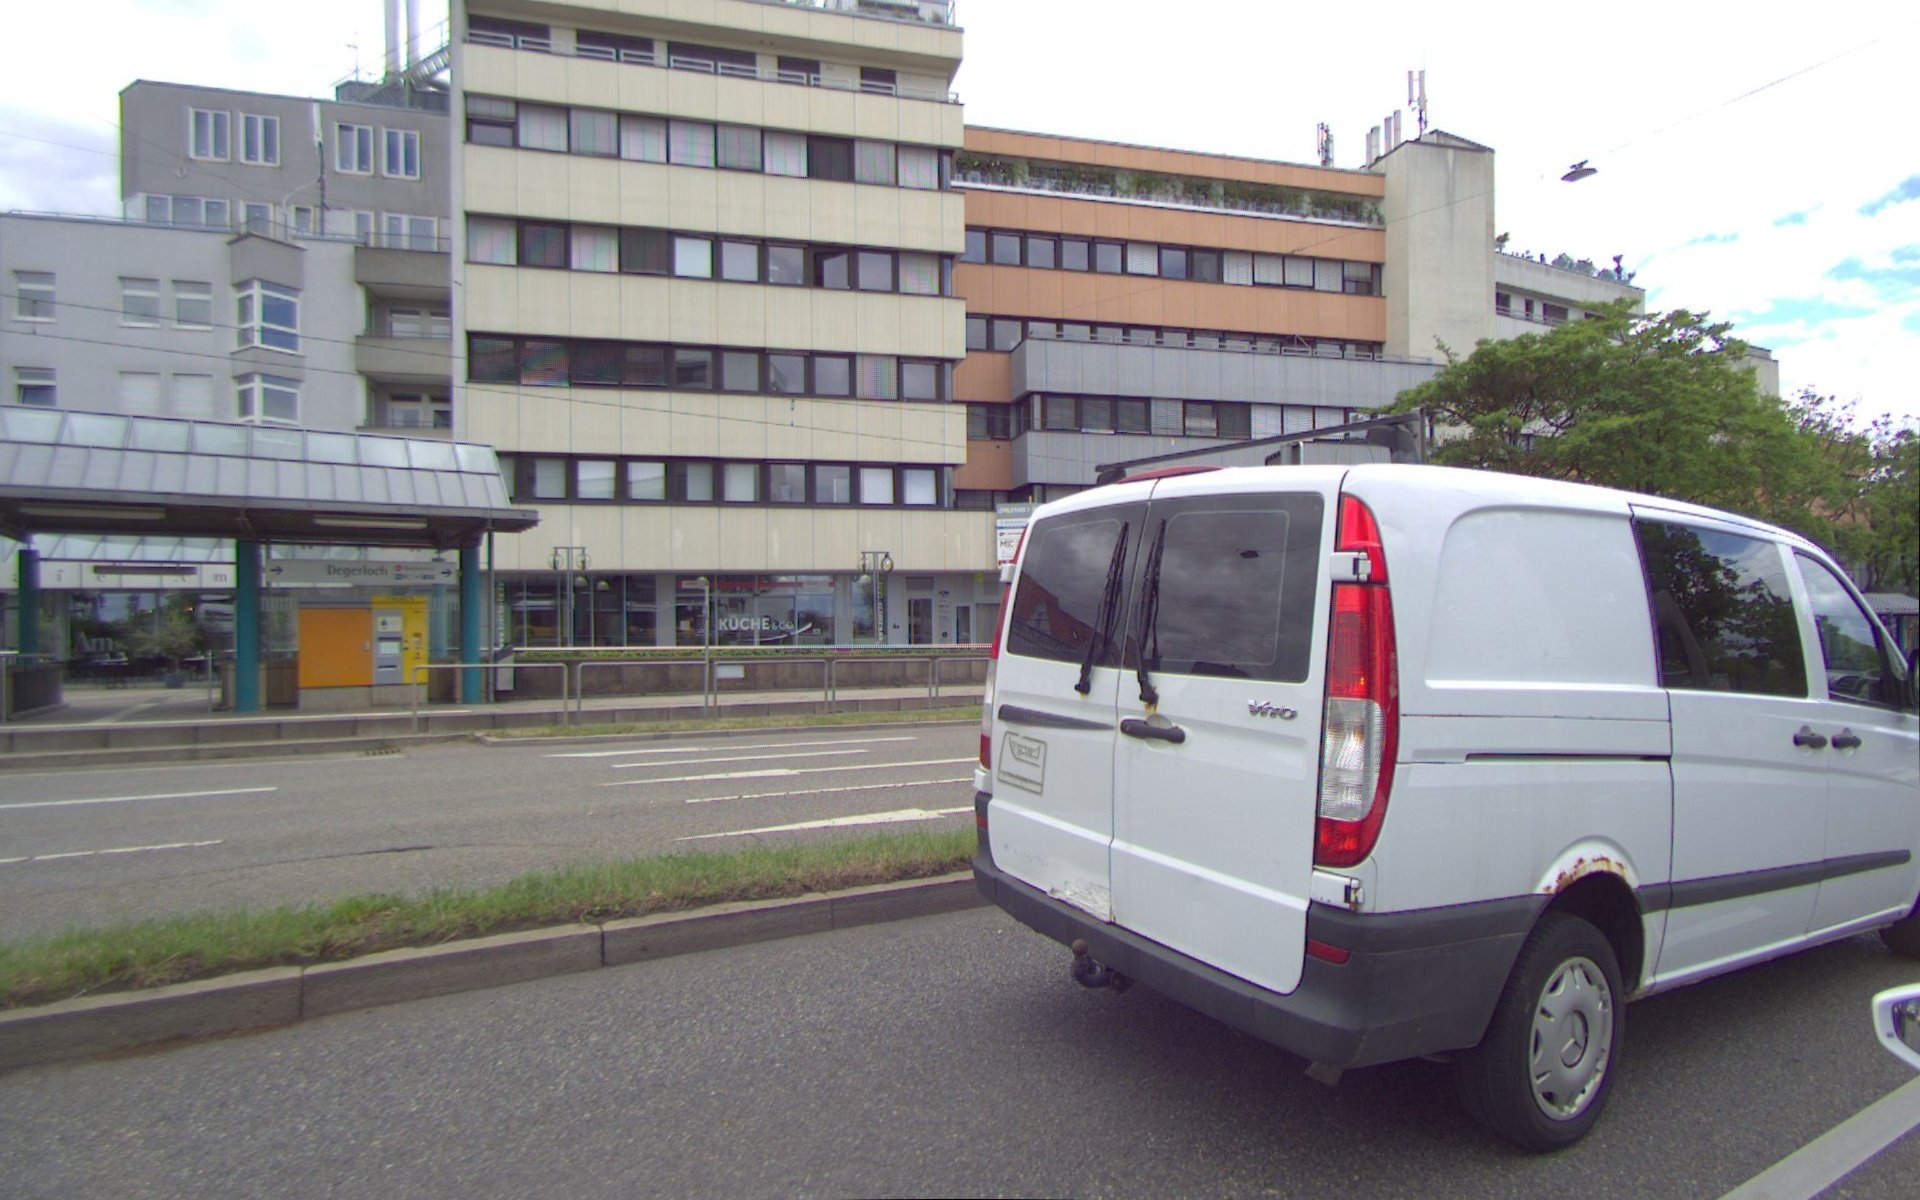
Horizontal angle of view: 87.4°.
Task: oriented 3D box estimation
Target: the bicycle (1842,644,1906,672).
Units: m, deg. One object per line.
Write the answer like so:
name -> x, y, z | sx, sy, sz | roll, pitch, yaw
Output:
bicycle -> 41.609, 2.641, 45.730 | 0.705, 1.169, 2.050 | 2, -1, -37

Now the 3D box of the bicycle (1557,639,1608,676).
bicycle -> 21.901, 2.004, 35.363 | 1.441, 1.270, 0.432 | 0, -1, 14

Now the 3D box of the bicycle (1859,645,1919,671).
bicycle -> 44.300, 2.742, 47.875 | 0.705, 1.168, 2.050 | 2, -1, -37

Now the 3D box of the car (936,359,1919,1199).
car -> 2.548, 0.486, 4.279 | 5.017, 2.041, 1.864 | 1, 2, -31

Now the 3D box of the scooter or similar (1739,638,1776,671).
scooter or similar -> 32.912, 2.247, 41.473 | 0.256, 1.337, 1.196 | 1, -2, -28

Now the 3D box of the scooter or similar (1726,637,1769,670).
scooter or similar -> 31.950, 2.163, 40.756 | 0.335, 1.286, 1.315 | 1, 0, -28

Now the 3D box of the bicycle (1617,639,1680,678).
bicycle -> 23.468, 1.977, 34.254 | 1.649, 1.270, 0.627 | 0, -1, 11

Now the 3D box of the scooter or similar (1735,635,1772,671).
scooter or similar -> 32.655, 2.181, 41.331 | 0.256, 1.442, 1.196 | 1, -2, -28

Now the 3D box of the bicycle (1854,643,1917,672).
bicycle -> 43.461, 2.685, 47.201 | 0.705, 1.169, 2.049 | 2, 2, -37

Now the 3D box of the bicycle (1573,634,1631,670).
bicycle -> 23.146, 1.870, 36.251 | 1.649, 1.270, 0.627 | 0, -1, 11

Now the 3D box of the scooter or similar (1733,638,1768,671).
scooter or similar -> 32.234, 2.214, 40.979 | 0.265, 1.312, 1.122 | 1, -2, -29

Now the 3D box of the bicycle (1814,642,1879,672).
bicycle -> 39.632, 2.543, 44.947 | 0.705, 1.169, 2.049 | 2, 1, -37

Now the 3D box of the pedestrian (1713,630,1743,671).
pedestrian -> 34.763, 2.279, 45.453 | 0.984, 1.805, 0.730 | 1, -2, -26

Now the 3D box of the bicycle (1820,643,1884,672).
bicycle -> 40.531, 2.613, 45.660 | 0.705, 1.169, 2.049 | 2, 0, -37

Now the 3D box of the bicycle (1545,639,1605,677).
bicycle -> 21.219, 2.010, 34.698 | 1.649, 1.270, 0.627 | 0, -1, 12

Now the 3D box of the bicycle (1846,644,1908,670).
bicycle -> 42.637, 2.647, 46.729 | 0.705, 1.168, 2.050 | 2, -2, -37
